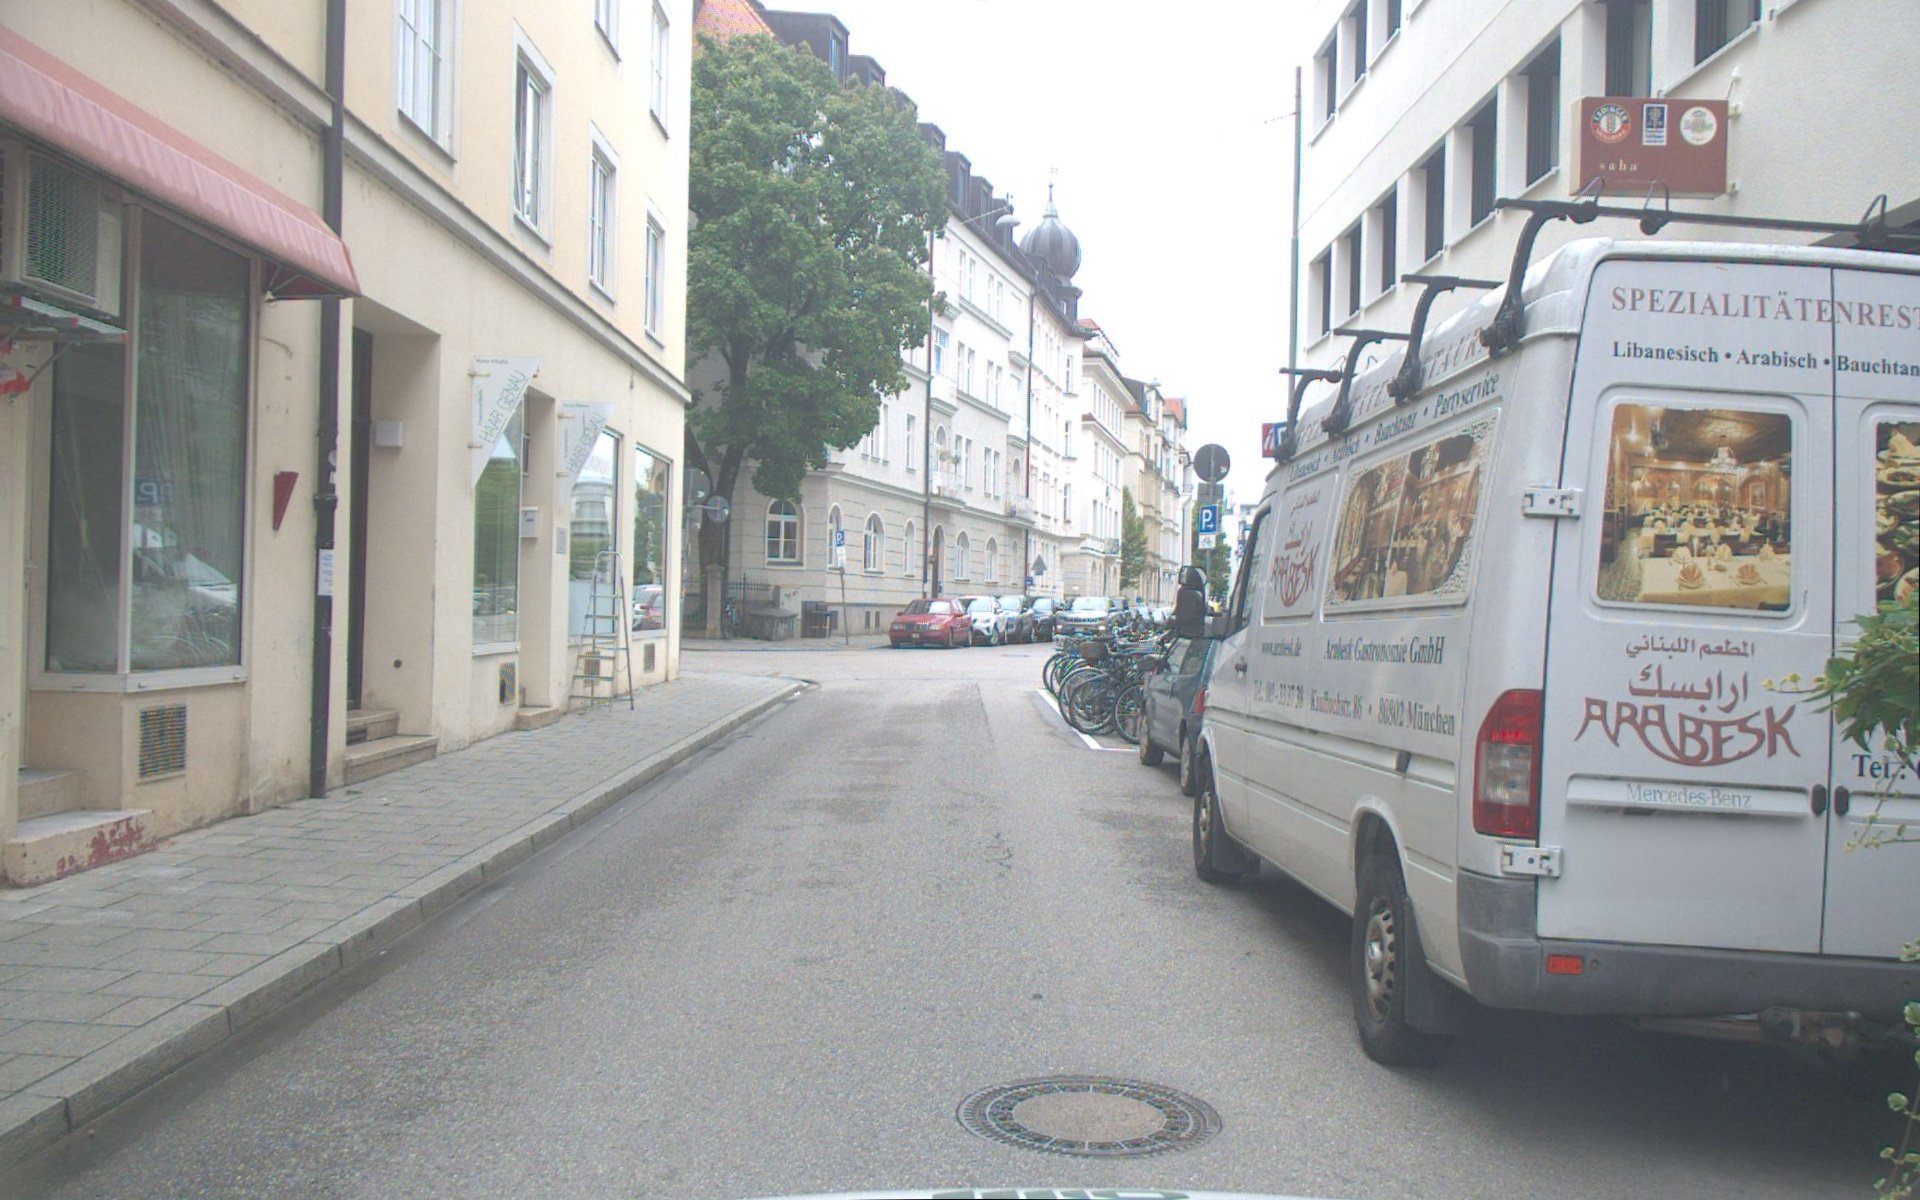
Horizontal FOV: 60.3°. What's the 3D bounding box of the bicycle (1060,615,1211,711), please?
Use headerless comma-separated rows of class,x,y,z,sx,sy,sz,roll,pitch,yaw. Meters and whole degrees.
bicycle,2.239,0.798,21.218,1.855,1.190,0.565,1,0,-3

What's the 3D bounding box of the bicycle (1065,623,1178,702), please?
bicycle,2.346,0.904,24.042,1.581,1.098,0.378,1,1,-4

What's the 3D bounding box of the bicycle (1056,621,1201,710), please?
bicycle,2.213,0.858,21.761,1.836,1.114,0.440,1,1,-4

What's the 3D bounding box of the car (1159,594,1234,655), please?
car,7.219,0.716,50.118,1.781,1.664,4.292,3,0,13

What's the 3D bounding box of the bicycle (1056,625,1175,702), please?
bicycle,2.331,0.946,24.841,1.705,1.098,0.452,1,1,-4

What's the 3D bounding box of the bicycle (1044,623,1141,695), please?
bicycle,2.084,0.925,26.074,1.423,1.088,0.462,2,0,-8

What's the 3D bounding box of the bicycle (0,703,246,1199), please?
bicycle,-1.755,0.821,1.837,0.913,1.279,2.413,0,-1,-1

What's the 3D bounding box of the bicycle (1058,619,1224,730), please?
bicycle,2.092,0.856,19.176,1.836,1.225,0.488,1,1,-2

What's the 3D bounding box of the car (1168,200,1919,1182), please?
car,2.333,0.242,7.375,1.881,2.549,5.996,2,0,-1

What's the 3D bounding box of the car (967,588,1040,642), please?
car,1.527,0.497,56.642,1.901,1.732,4.003,2,0,10

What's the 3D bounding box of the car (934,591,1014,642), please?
car,0.495,0.495,51.958,1.951,1.499,4.222,1,0,8

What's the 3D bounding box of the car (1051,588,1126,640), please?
car,4.331,0.436,55.214,1.915,1.636,4.312,1,0,12

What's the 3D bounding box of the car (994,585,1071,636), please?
car,2.757,0.393,61.678,1.951,1.769,4.525,2,0,14

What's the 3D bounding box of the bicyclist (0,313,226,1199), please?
bicyclist,-1.774,0.483,2.456,0.908,1.751,1.099,0,0,-3

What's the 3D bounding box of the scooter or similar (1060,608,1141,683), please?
scooter or similar,2.366,0.764,27.882,1.324,1.231,0.418,1,0,1

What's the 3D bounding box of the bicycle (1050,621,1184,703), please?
bicycle,2.231,0.881,23.601,1.836,1.098,0.408,1,1,-4

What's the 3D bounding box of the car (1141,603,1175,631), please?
car,12.087,1.032,100.697,1.781,1.601,4.003,1,0,11

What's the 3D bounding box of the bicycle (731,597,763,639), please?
bicycle,-5.901,0.491,45.795,0.483,1.071,1.828,1,2,5

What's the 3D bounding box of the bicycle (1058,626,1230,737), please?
bicycle,2.064,0.912,18.655,1.836,1.127,0.488,3,1,-2

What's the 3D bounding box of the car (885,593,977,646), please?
car,-0.762,0.539,46.912,1.693,1.402,4.230,1,0,12

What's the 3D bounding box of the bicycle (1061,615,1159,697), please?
bicycle,2.320,0.864,25.624,1.423,1.229,0.395,2,0,-8

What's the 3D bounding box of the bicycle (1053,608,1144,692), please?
bicycle,2.267,0.812,27.085,1.427,1.308,0.445,2,0,1

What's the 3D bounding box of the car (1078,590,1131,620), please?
car,6.839,0.235,77.922,1.866,1.352,4.003,1,0,14

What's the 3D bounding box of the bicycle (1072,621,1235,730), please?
bicycle,2.309,0.899,19.859,1.836,1.177,0.565,3,1,-2

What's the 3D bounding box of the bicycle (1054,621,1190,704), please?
bicycle,2.268,0.872,23.162,1.836,1.098,0.402,1,1,-4

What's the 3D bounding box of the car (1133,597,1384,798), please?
car,2.464,0.741,14.379,1.548,1.489,3.552,1,0,0

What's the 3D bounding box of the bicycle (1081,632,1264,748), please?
bicycle,2.256,0.956,17.658,1.836,1.098,0.488,3,1,-2

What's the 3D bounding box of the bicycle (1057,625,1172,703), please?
bicycle,2.277,0.943,24.426,1.641,1.098,0.336,1,1,-4

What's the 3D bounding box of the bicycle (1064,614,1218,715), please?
bicycle,2.243,0.795,20.591,1.836,1.225,0.579,0,0,-2

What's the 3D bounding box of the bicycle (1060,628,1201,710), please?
bicycle,2.306,0.930,22.464,1.836,1.070,0.564,1,-2,-4
